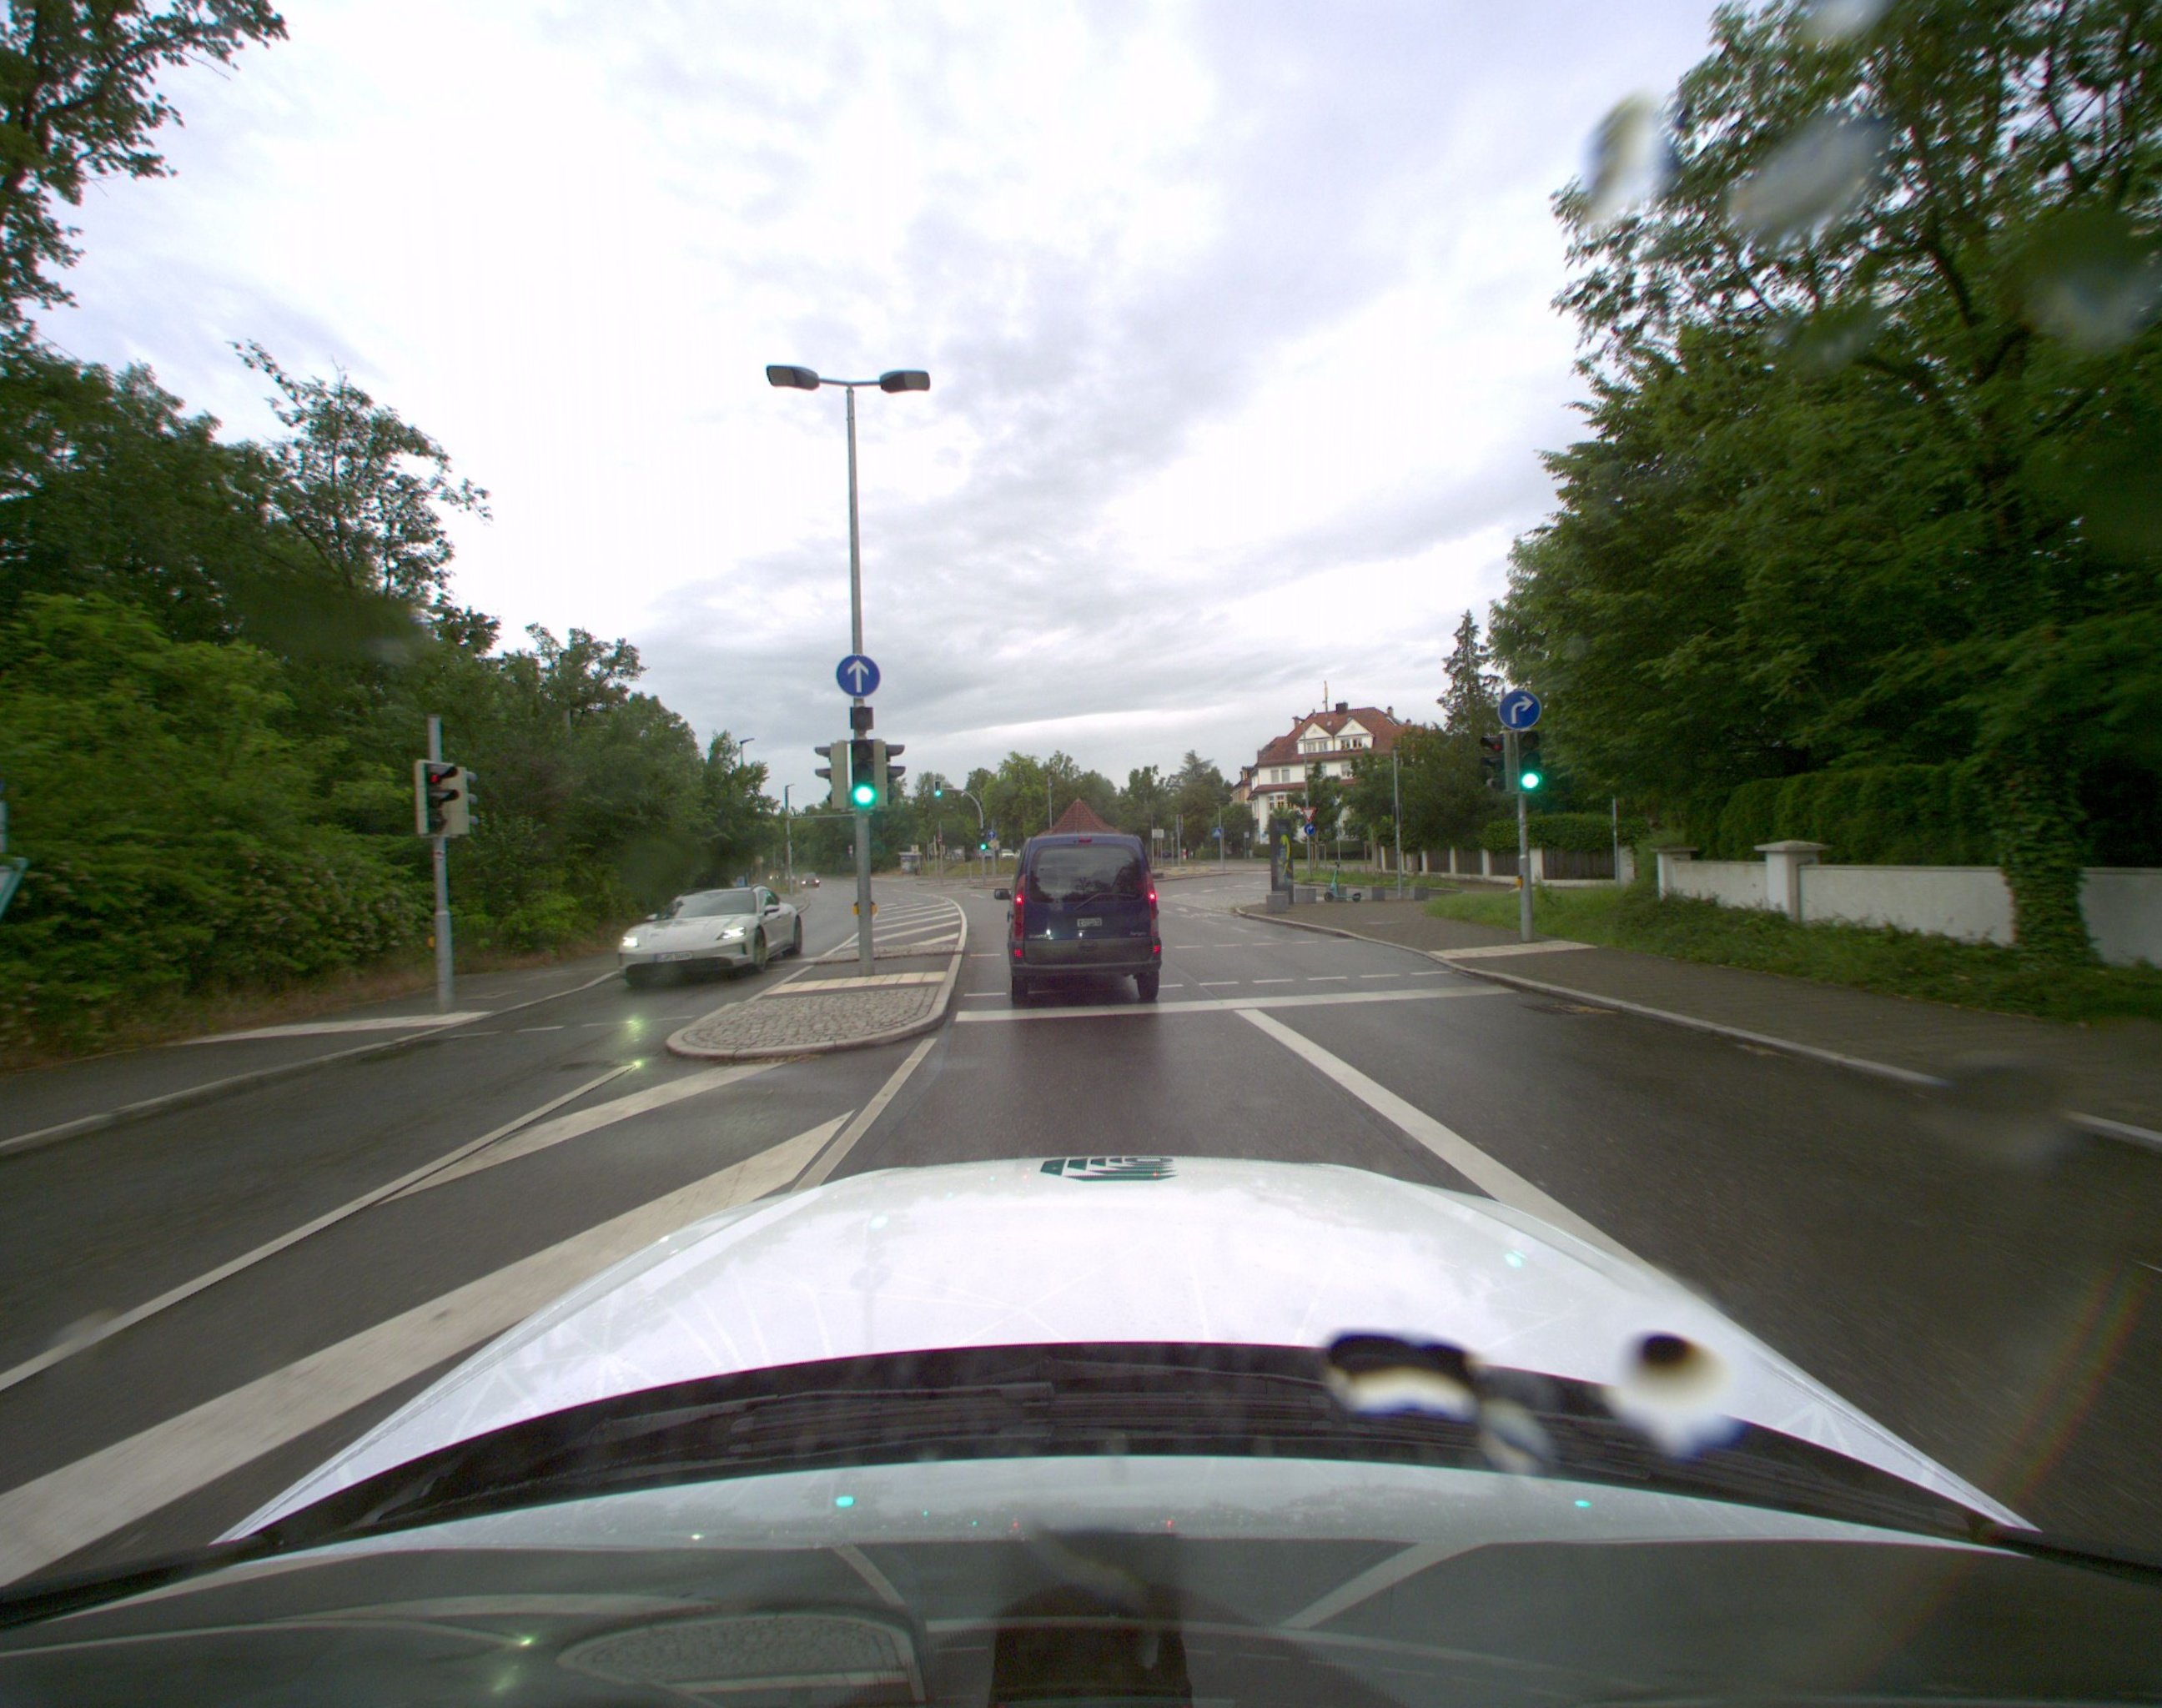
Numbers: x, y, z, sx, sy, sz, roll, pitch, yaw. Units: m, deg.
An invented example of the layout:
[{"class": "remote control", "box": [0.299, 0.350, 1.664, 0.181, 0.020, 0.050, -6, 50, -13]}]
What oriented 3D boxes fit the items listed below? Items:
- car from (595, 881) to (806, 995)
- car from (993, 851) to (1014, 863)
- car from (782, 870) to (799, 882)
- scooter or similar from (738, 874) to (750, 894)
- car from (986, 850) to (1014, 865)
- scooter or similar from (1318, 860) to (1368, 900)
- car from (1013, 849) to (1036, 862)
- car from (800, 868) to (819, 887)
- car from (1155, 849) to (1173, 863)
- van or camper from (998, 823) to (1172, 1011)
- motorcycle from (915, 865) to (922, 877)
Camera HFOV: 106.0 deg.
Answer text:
[{"class": "car", "box": [-6.173, 1.263, 13.888, 1.939, 1.376, 4.590, -4, 0, -9]}, {"class": "car", "box": [-10.247, 0.383, 107.340, 1.891, 1.480, 4.042, -2, -1, -19]}, {"class": "car", "box": [-36.053, 2.673, 100.853, 1.748, 1.352, 4.178, -4, 0, -22]}, {"class": "scooter or similar", "box": [-22.154, 1.955, 53.525, 0.518, 1.212, 1.461, -3, 0, -15]}, {"class": "car", "box": [-9.207, 0.423, 92.465, 2.002, 1.480, 4.252, -1, -1, -22]}, {"class": "scooter or similar", "box": [8.046, 0.791, 25.015, 1.347, 1.207, 0.523, 0, -1, -8]}, {"class": "car", "box": [-6.785, 0.216, 97.340, 1.890, 1.480, 4.044, -1, -1, -18]}, {"class": "car", "box": [-26.844, 2.276, 80.528, 1.581, 1.730, 3.751, -4, 0, -18]}, {"class": "car", "box": [12.777, 0.316, 126.231, 1.991, 2.013, 3.992, -2, 0, -6]}, {"class": "van or camper", "box": [-0.102, 0.646, 10.261, 1.709, 1.826, 3.993, -2, 0, -4]}, {"class": "motorcycle", "box": [-18.477, 1.966, 92.740, 0.589, 1.289, 1.533, -3, 0, -9]}]
